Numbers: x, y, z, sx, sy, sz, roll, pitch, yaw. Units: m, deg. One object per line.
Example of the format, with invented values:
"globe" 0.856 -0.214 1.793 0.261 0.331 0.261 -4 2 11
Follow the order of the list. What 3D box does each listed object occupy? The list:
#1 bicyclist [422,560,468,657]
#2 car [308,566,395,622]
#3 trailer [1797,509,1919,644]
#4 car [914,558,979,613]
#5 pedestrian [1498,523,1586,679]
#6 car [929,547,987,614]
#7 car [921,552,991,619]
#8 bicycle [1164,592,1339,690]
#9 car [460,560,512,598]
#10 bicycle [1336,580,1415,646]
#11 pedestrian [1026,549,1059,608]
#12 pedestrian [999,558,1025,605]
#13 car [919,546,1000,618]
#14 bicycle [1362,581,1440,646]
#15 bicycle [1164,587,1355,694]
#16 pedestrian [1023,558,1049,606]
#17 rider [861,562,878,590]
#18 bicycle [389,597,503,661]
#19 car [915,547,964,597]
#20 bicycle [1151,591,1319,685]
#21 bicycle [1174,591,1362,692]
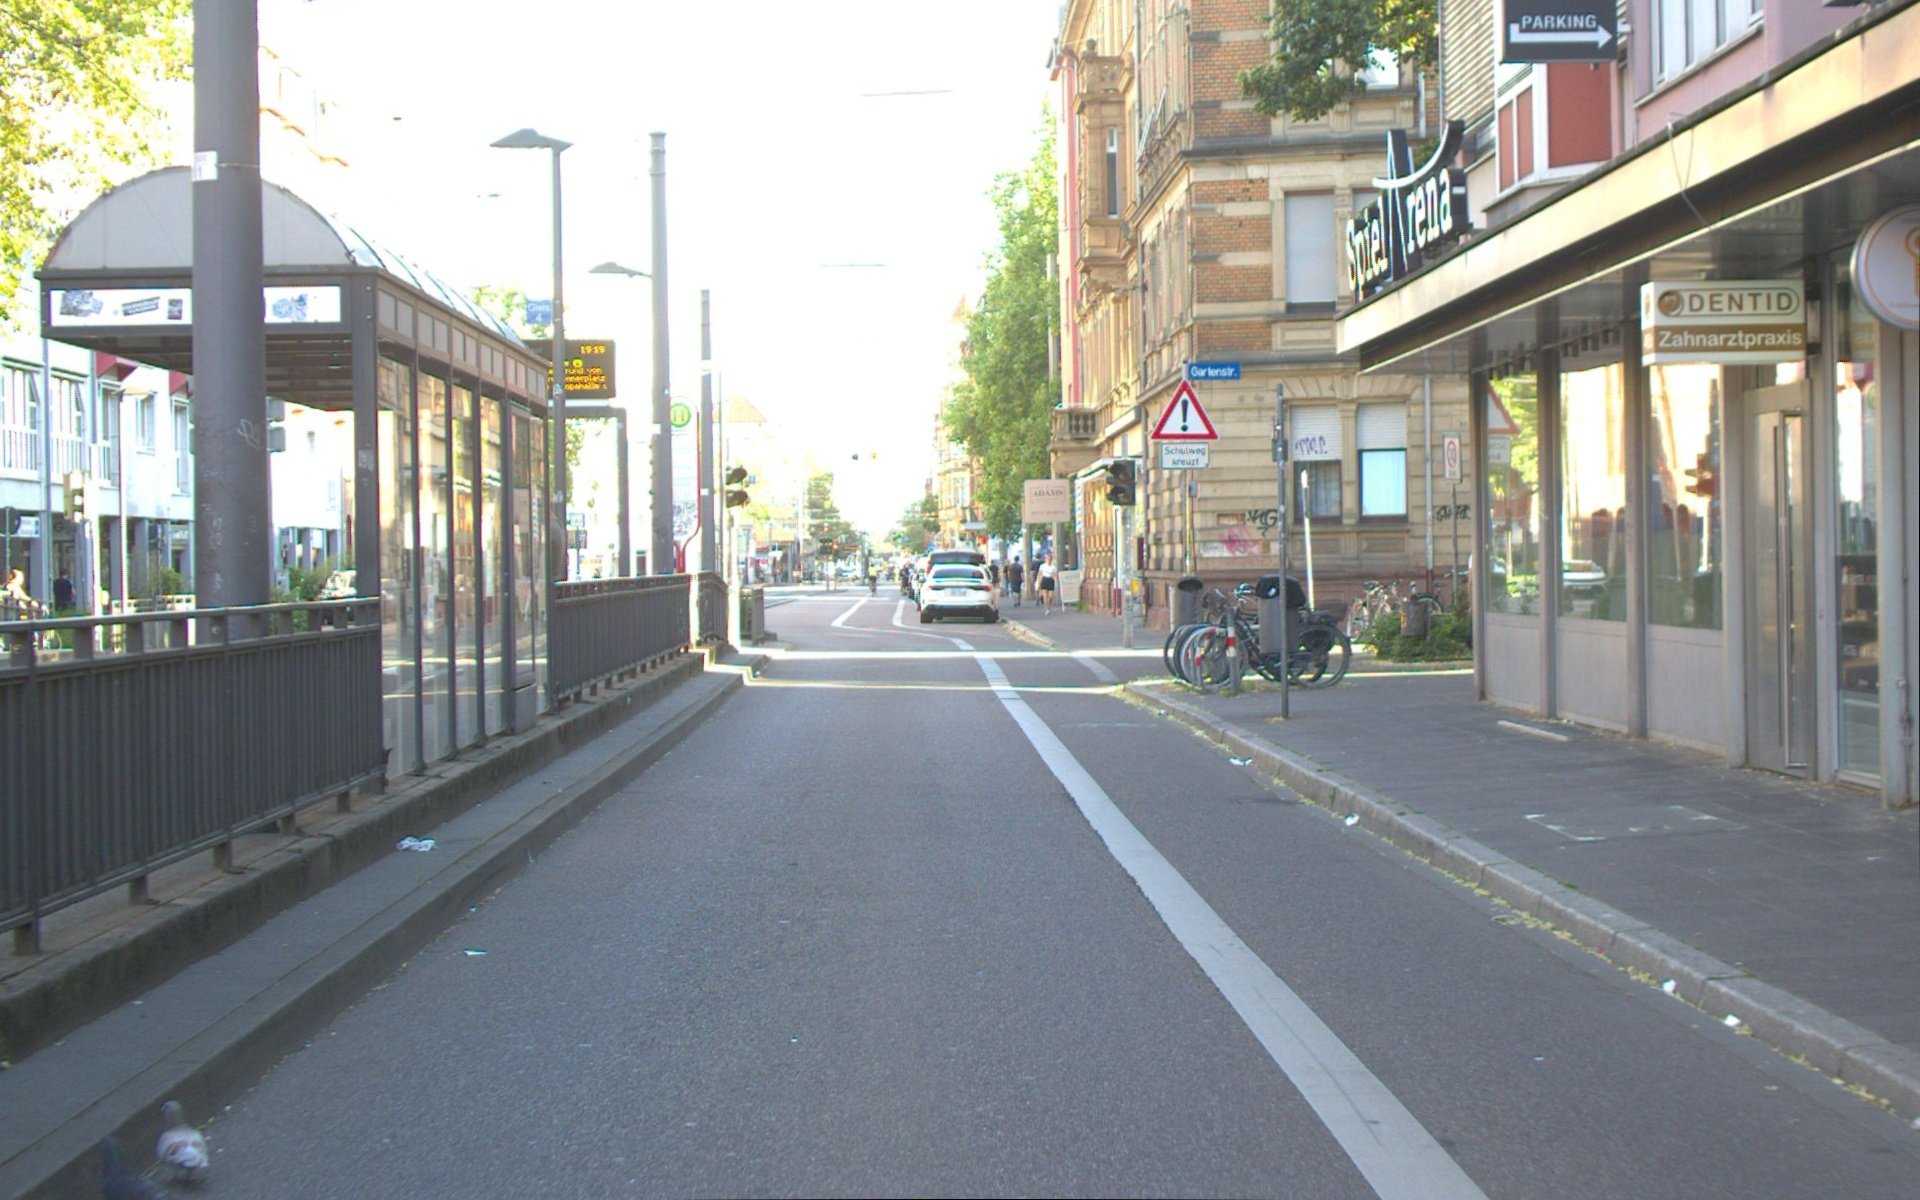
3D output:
"bicyclist" -9.068 0.147 60.521 0.743 1.706 0.534 -1 0 -3
"car" -19.543 -0.173 110.602 2.090 1.707 4.819 1 -1 -2
"trailer" 12.436 -0.314 46.713 1.968 1.726 3.930 -2 0 13
"car" -0.478 -0.480 115.194 1.949 1.782 5.182 1 0 -2
"pedestrian" 6.394 -0.001 37.827 0.783 1.660 1.033 -1 2 0
"car" -0.049 -0.612 109.816 1.705 2.112 3.706 0 0 2
"car" -0.106 -0.435 99.089 1.955 1.862 4.989 1 0 0
"bicycle" 3.220 0.446 38.023 1.833 1.050 0.718 0 1 -4
"car" -19.949 -0.894 144.701 1.869 1.594 4.255 0 1 -4
"bicycle" 6.639 0.196 55.028 0.451 1.021 1.908 -1 1 -20
"pedestrian" 2.243 -0.593 93.553 0.776 1.561 0.913 -4 0 2
"pedestrian" 1.767 -0.629 116.478 0.776 1.561 0.914 -4 0 0
"car" -0.015 -0.451 87.038 1.966 1.765 4.875 1 0 0
"bicycle" 7.049 0.210 55.031 0.417 1.021 1.908 -1 1 -20
"bicycle" 3.243 0.432 37.294 1.970 1.101 0.614 -1 1 -4
"pedestrian" 2.568 -0.604 116.492 0.776 1.561 0.914 -4 0 0
"rider" -4.884 -1.282 185.881 0.883 1.476 0.713 1 0 0
"bicycle" -9.046 0.508 60.533 1.893 1.074 0.584 2 0 -3
"car" -0.856 -1.190 144.843 1.971 2.007 4.558 -2 0 0
"bicycle" 3.167 0.433 39.697 1.833 1.050 0.710 0 1 -4
"bicycle" 3.274 0.434 36.637 1.913 1.044 0.681 0 1 -4
